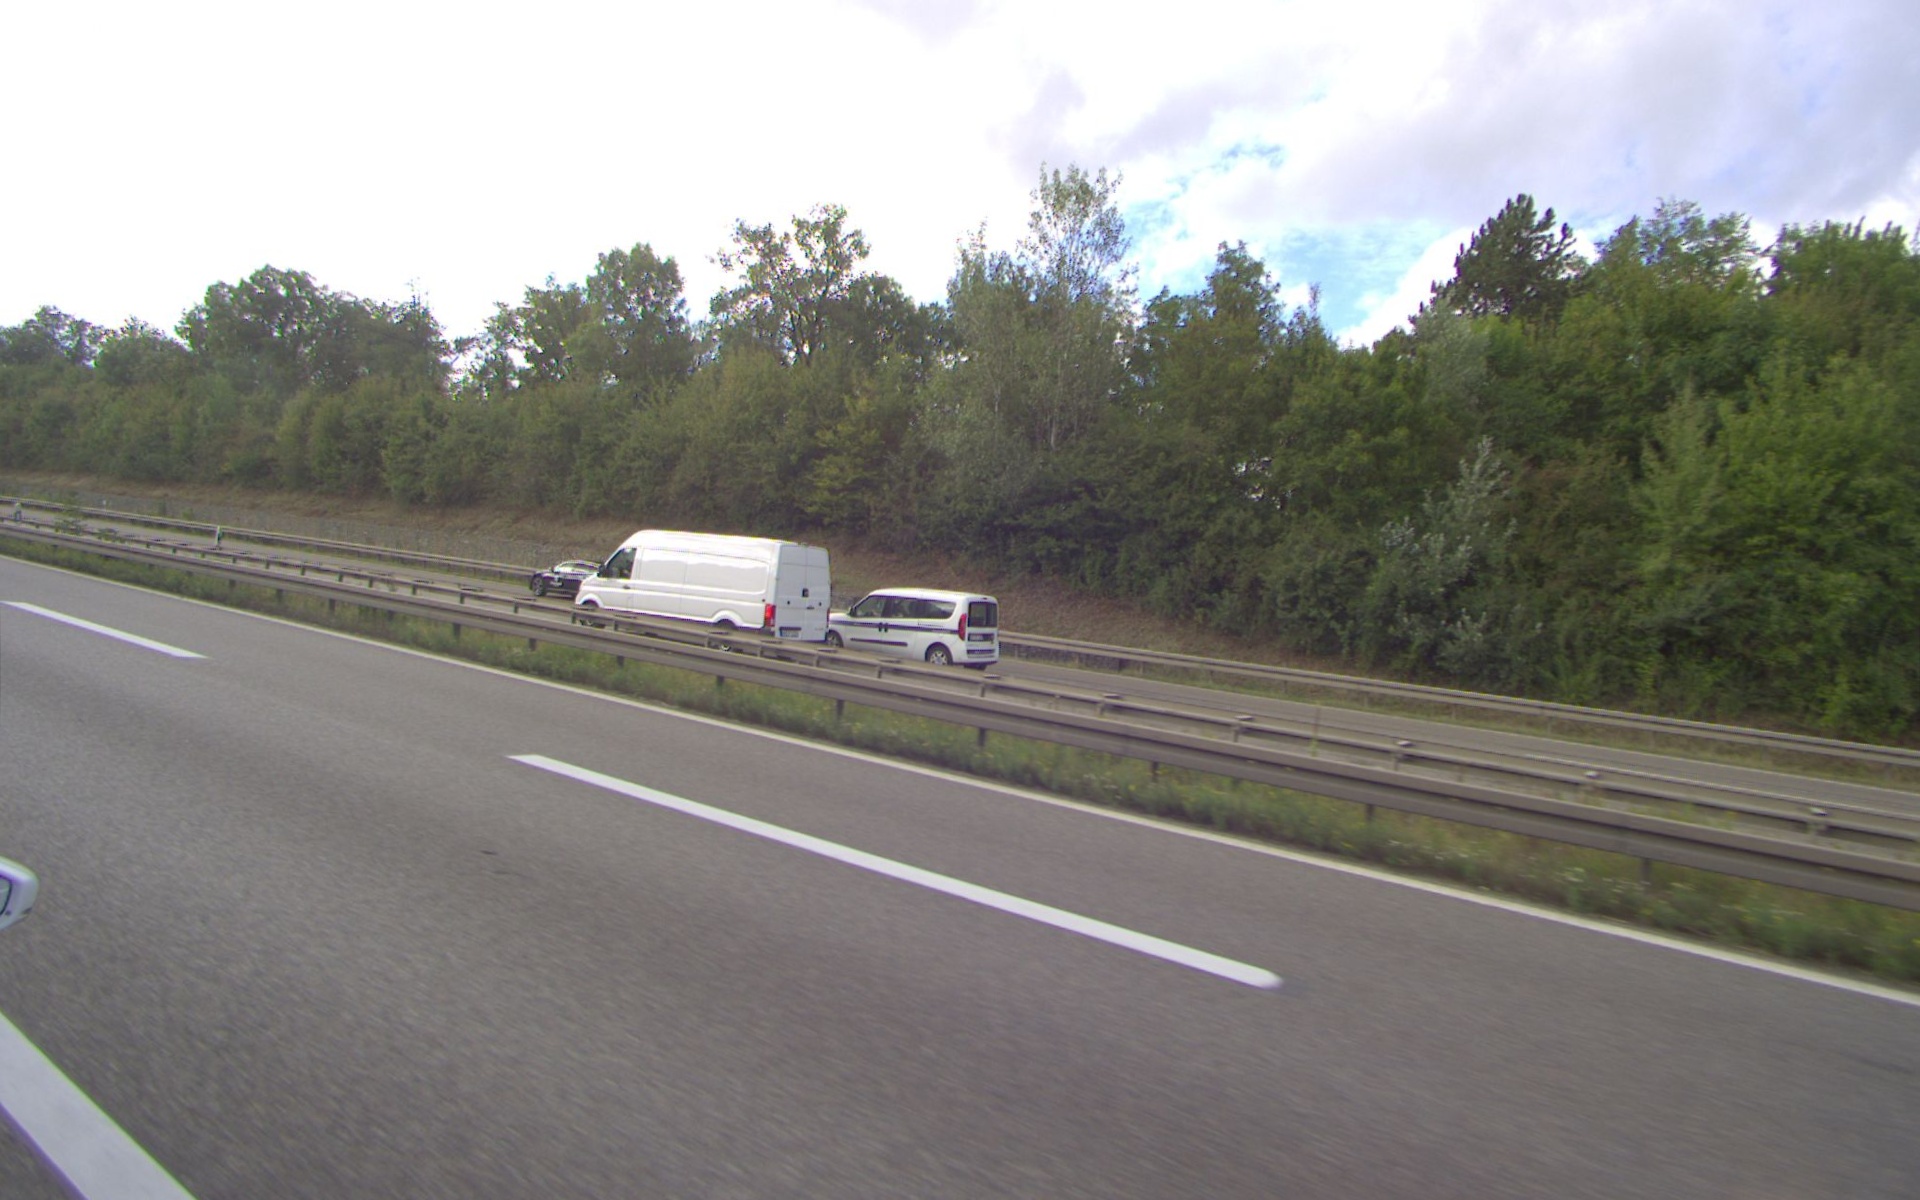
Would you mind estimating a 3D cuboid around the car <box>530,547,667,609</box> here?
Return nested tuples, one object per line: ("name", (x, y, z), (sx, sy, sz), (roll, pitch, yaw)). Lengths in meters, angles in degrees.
("car", (-12.558, -0.777, 34.892), (4.684, 1.624, 1.844), (7, 2, 31))

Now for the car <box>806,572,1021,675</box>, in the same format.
("car", (-1.145, 0.523, 23.684), (4.685, 1.773, 1.846), (7, 0, 32))

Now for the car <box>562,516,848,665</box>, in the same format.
("car", (-5.894, -0.275, 22.729), (6.631, 2.587, 2.071), (7, 1, 32))
